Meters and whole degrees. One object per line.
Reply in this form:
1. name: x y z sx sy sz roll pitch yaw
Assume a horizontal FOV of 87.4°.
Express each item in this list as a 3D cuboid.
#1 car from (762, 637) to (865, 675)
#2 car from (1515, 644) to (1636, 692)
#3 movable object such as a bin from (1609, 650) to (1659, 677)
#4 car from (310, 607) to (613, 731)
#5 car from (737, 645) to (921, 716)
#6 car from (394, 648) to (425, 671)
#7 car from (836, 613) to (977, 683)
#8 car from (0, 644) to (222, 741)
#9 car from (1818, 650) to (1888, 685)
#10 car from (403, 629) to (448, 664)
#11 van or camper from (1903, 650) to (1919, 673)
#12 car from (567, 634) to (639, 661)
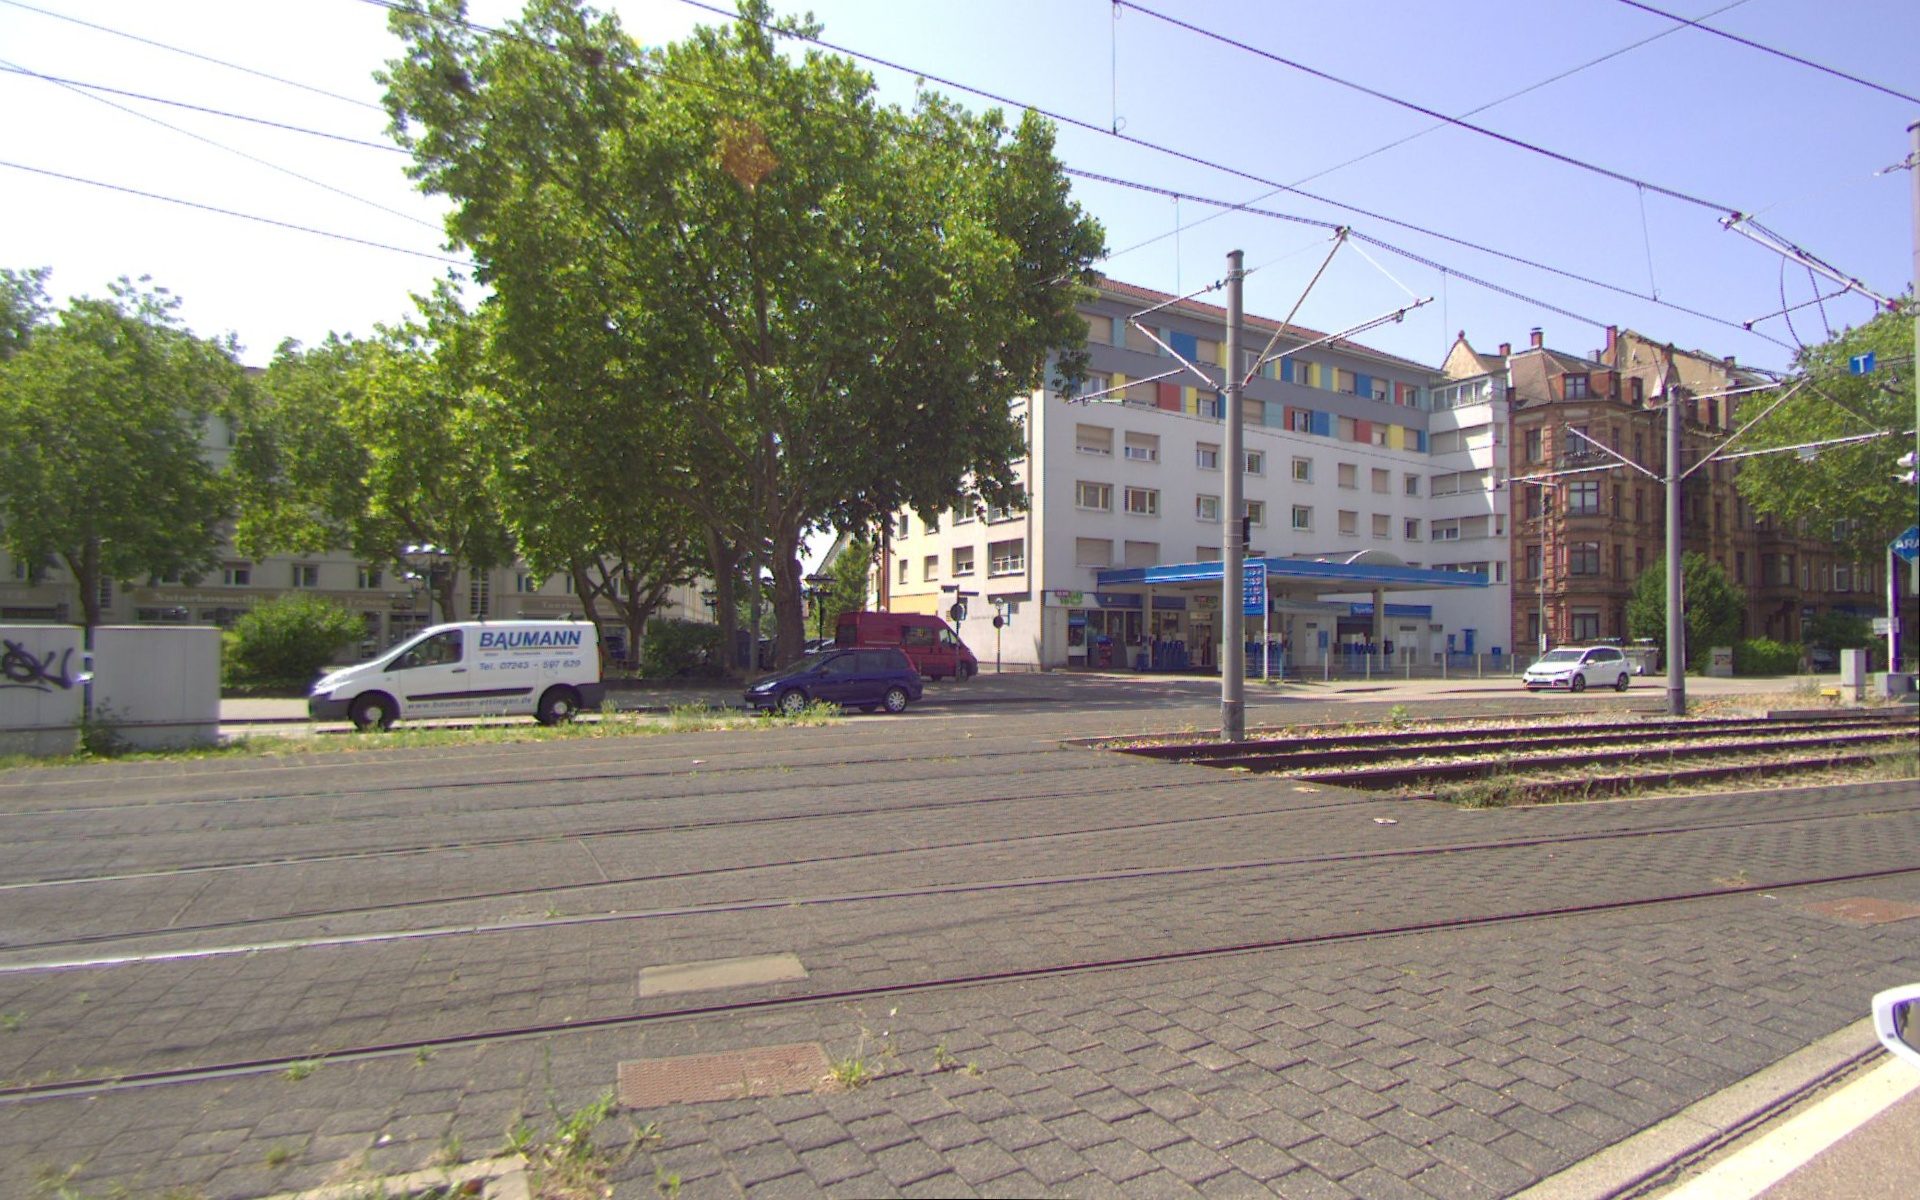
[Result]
1. car: -6.237 2.358 42.877 3.954 1.546 1.854 1 -2 -31
2. car: 22.634 2.483 36.922 4.548 1.646 1.839 2 -4 -30
3. movable object such as a bin: 35.772 3.361 53.313 1.454 1.403 1.773 2 -3 -32
4. car: -9.030 1.217 18.427 4.752 2.017 1.768 2 -3 -32
5. car: -2.872 1.749 22.199 3.739 1.438 1.589 2 -4 -31
6. car: -36.827 3.987 67.252 1.601 1.428 3.901 2 -2 -26
7. car: -1.928 1.762 37.047 4.928 2.424 1.836 2 -3 -33
8. car: -14.228 1.376 15.331 4.577 1.377 1.937 1 -3 -32
9. car: 45.009 3.371 50.628 3.665 1.706 1.645 2 -2 -32
10. car: -30.995 2.672 58.302 2.138 1.975 3.973 2 -2 -26
11. van or camper: 77.201 4.852 78.626 1.905 1.861 4.532 1 -2 -24
12. car: -22.268 2.992 62.699 3.955 1.631 1.984 2 -3 -31
